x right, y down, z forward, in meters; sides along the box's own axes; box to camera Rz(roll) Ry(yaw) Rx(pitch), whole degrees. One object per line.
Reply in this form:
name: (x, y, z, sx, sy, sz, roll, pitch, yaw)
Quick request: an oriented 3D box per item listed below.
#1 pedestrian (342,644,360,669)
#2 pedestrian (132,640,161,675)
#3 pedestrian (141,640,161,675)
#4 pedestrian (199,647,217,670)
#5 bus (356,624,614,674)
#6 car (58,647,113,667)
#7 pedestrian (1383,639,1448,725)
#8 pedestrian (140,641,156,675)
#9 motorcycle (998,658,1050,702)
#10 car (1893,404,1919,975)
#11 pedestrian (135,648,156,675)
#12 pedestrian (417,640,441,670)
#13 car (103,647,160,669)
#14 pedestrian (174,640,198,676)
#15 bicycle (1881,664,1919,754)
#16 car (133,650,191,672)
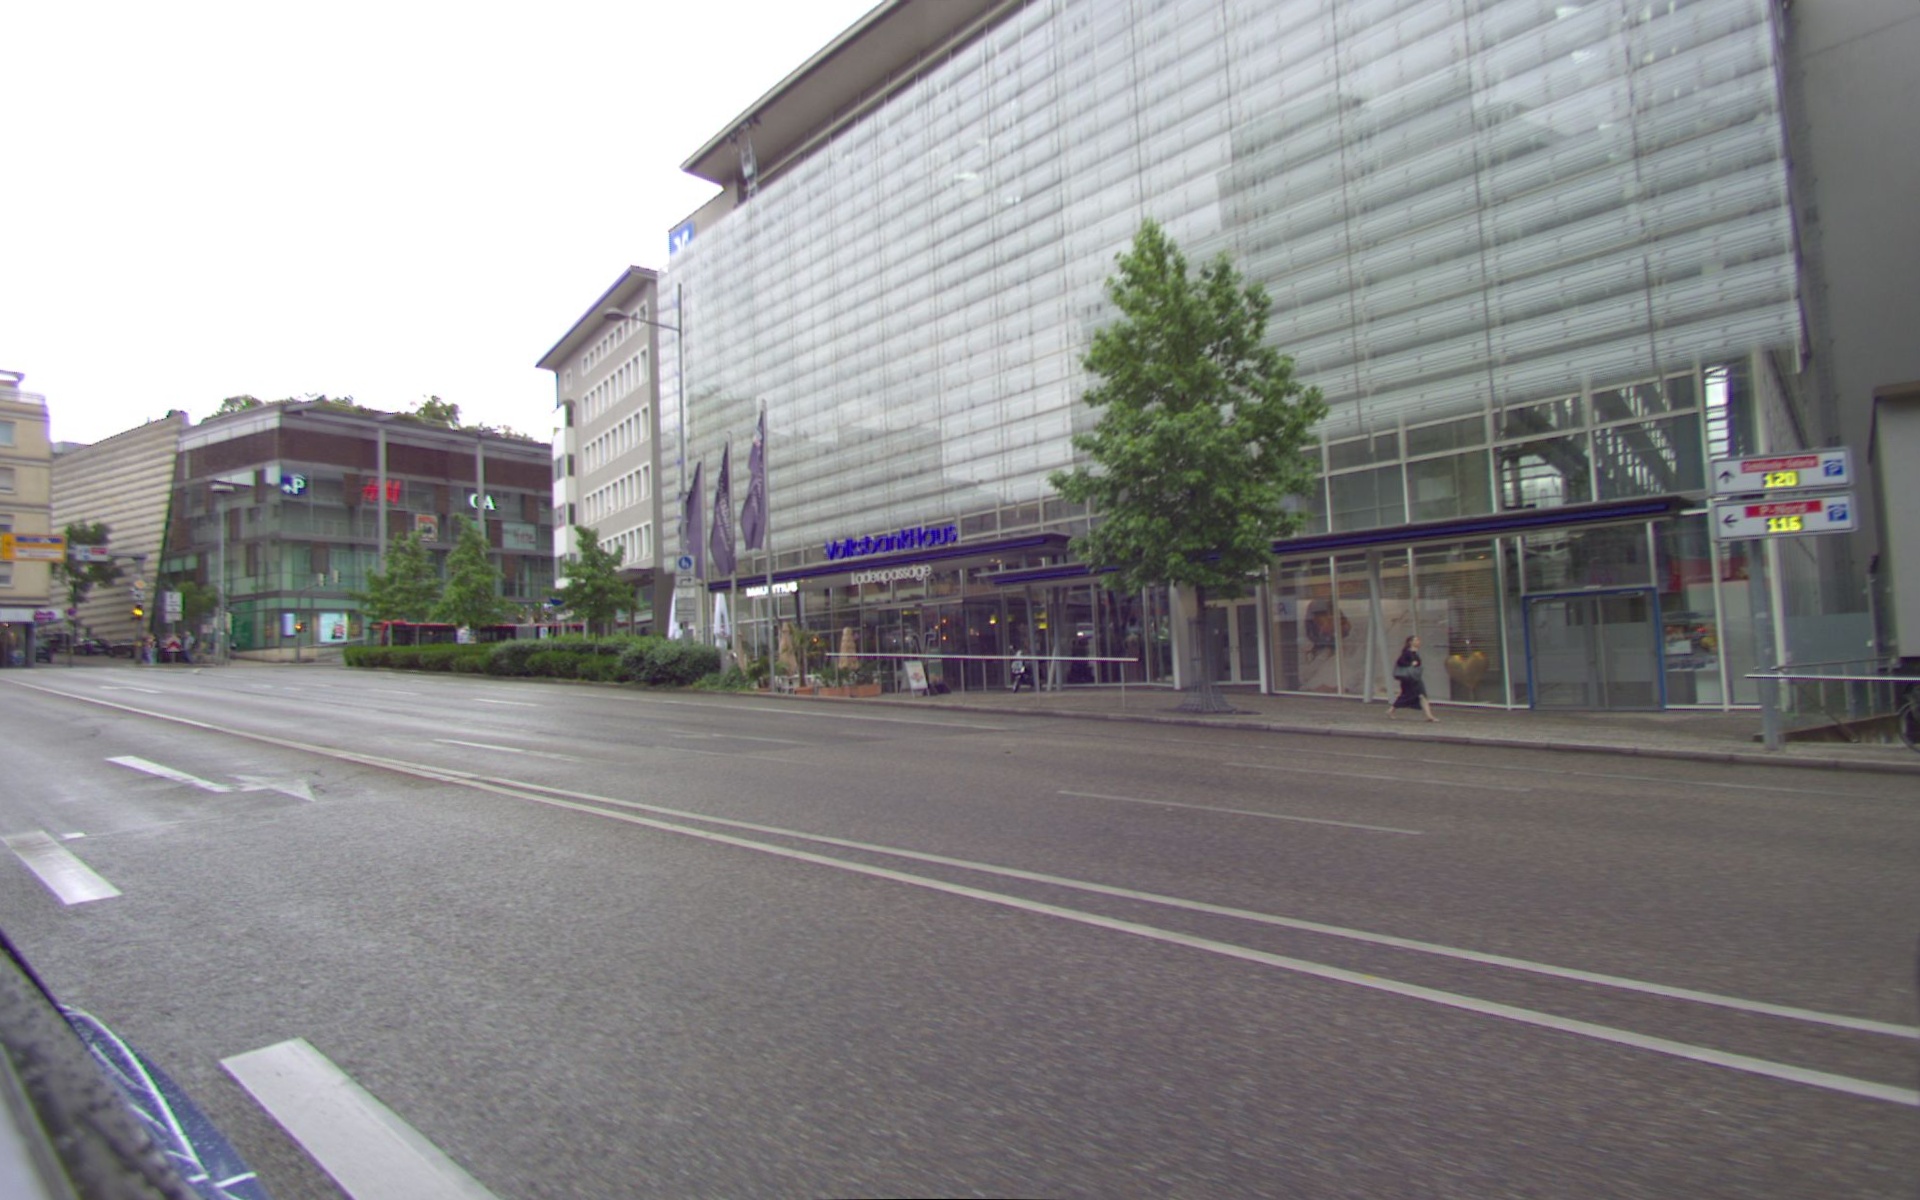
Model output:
pedestrian: (-48.843, 4.552, 81.153, 0.882, 1.996, 0.963, -4, -5, 36)
pedestrian: (-42.005, 2.973, 52.251, 1.009, 1.801, 0.844, -2, -4, 30)
pedestrian: (-40.205, 2.873, 50.306, 0.629, 1.702, 0.784, 3, -5, -45)
pedestrian: (-58.053, 4.510, 78.162, 1.043, 1.775, 0.689, -3, -5, 26)
bus: (-34.984, 3.815, 76.309, 2.925, 3.346, 18.241, -4, -5, 38)
car: (-71.620, 4.660, 82.888, 4.359, 1.558, 1.881, -1, -1, 27)
pedestrian: (8.121, 1.448, 18.043, 0.644, 1.468, 0.845, 3, -5, -44)
pedestrian: (-40.722, 2.903, 50.727, 0.571, 1.681, 0.494, -5, -5, 43)
motorcycle: (1.995, 2.469, 31.527, 1.529, 1.305, 0.770, 2, -4, -44)
car: (3.623, 0.428, 0.261, 4.788, 1.831, 2.067, -3, -1, 40)
pedestrian: (-41.137, 3.088, 51.102, 0.629, 1.350, 0.582, -2, -4, 31)
pedestrian: (-31.980, 3.300, 60.976, 1.021, 1.789, 0.791, -2, -4, 31)
car: (-65.189, 4.549, 79.612, 4.359, 1.558, 1.881, -1, -1, 27)
pedestrian: (-38.663, 2.892, 50.549, 0.829, 1.792, 0.611, -2, -4, 31)
bicycle: (12.796, 1.370, 12.454, 2.066, 1.108, 0.672, -1, -3, 35)
car: (-60.468, 4.612, 76.672, 4.275, 1.558, 1.789, -1, -3, 27)
